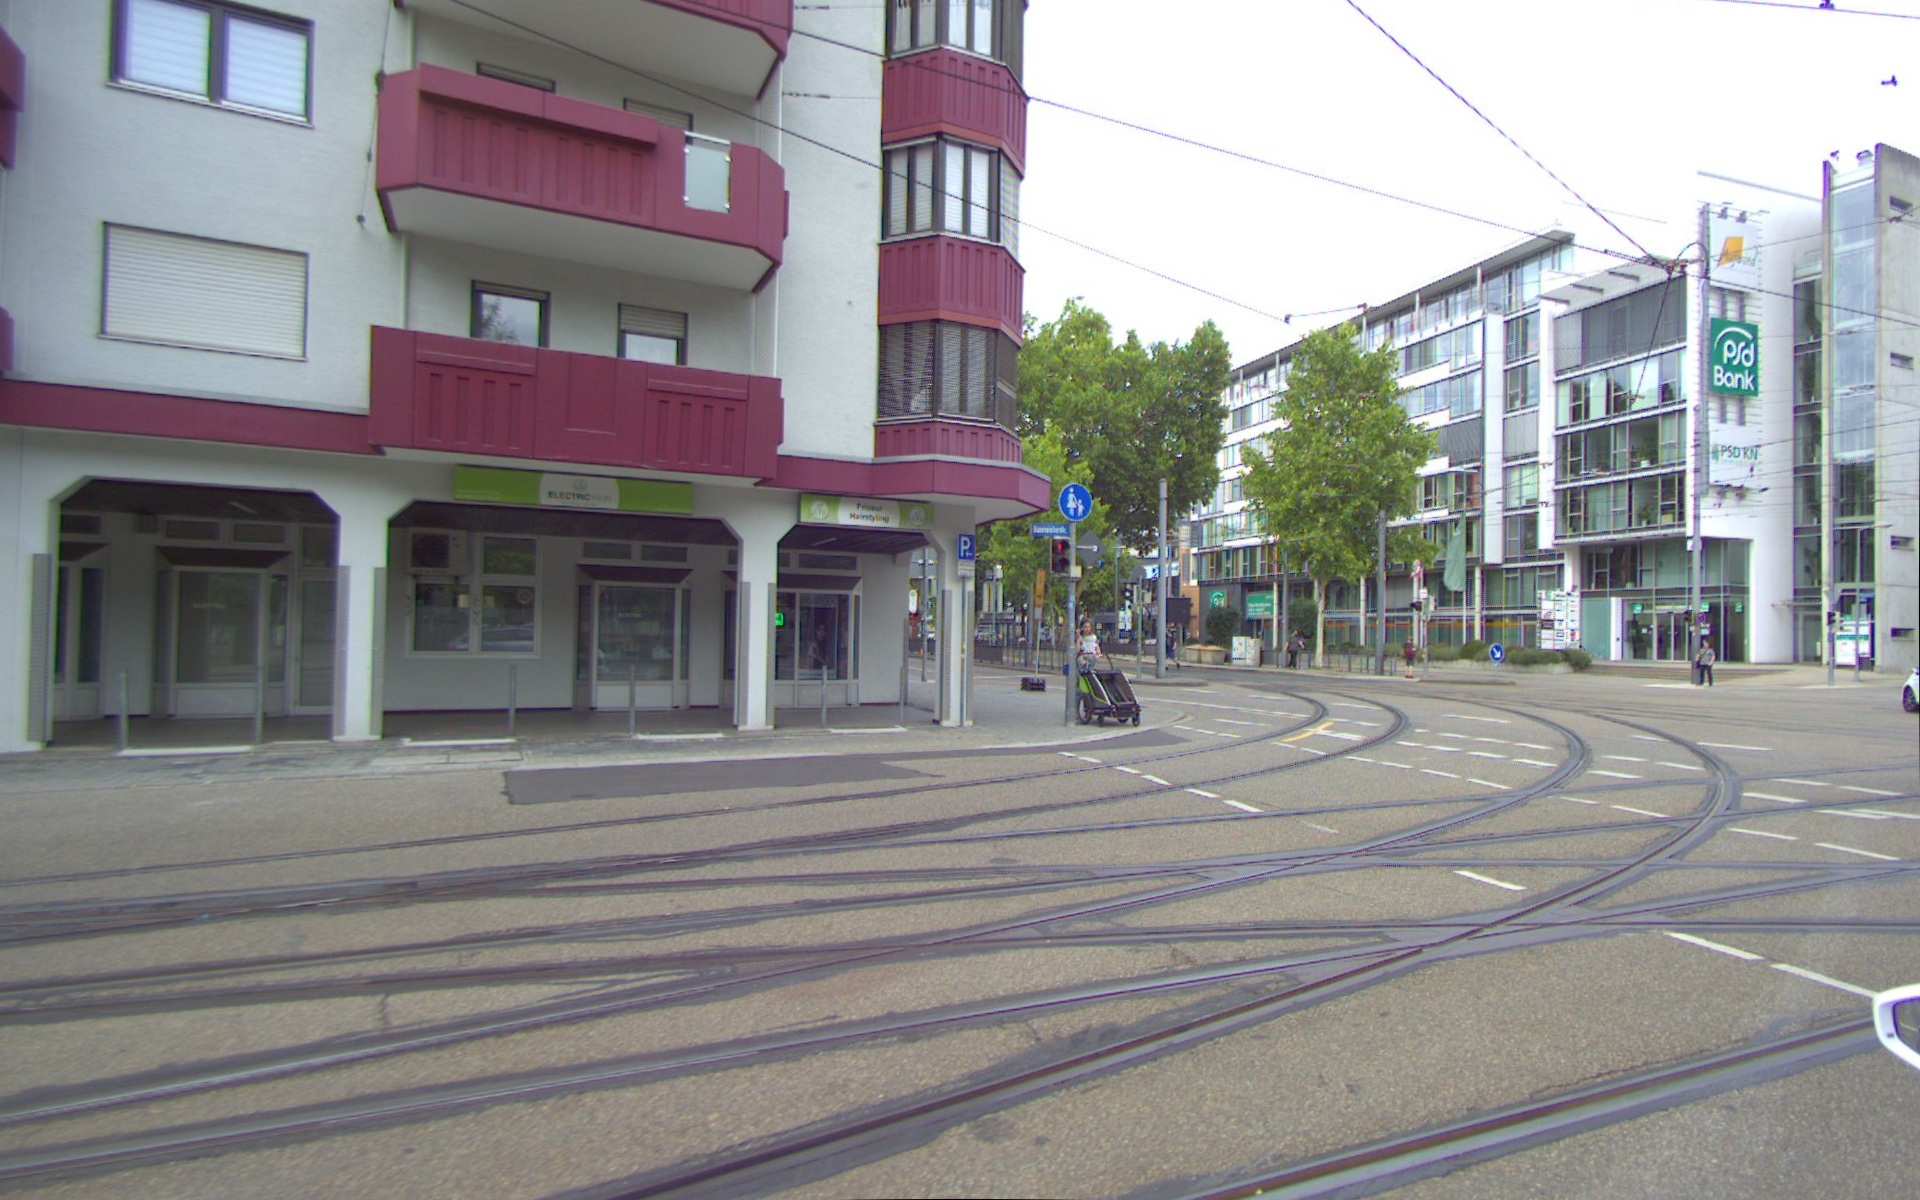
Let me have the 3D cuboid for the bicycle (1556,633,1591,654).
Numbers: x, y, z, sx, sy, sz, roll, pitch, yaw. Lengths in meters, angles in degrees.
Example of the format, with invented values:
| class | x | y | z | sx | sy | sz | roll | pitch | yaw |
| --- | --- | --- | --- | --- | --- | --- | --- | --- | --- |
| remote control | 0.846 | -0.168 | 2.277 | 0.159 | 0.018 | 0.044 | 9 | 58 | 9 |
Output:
| class | x | y | z | sx | sy | sz | roll | pitch | yaw |
| --- | --- | --- | --- | --- | --- | --- | --- | --- | --- |
| bicycle | 36.462 | 2.599 | 59.697 | 2.083 | 1.192 | 0.583 | 2 | -1 | -22 |

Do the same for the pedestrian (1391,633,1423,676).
| class | x | y | z | sx | sy | sz | roll | pitch | yaw |
| --- | --- | --- | --- | --- | --- | --- | --- | --- | --- |
| pedestrian | 17.554 | 2.132 | 39.446 | 0.752 | 1.693 | 0.936 | 1 | -2 | -11 |

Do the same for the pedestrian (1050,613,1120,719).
| class | x | y | z | sx | sy | sz | roll | pitch | yaw |
| --- | --- | --- | --- | --- | --- | --- | --- | --- | --- |
| pedestrian | 2.143 | 1.114 | 17.277 | 0.802 | 1.766 | 0.944 | 1 | -2 | -26 |

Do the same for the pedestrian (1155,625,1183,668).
| class | x | y | z | sx | sy | sz | roll | pitch | yaw |
| --- | --- | --- | --- | --- | --- | --- | --- | --- | --- |
| pedestrian | 9.442 | 2.094 | 45.335 | 0.985 | 1.924 | 0.803 | 1 | -1 | -12 |

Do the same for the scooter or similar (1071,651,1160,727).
| class | x | y | z | sx | sy | sz | roll | pitch | yaw |
| --- | --- | --- | --- | --- | --- | --- | --- | --- | --- |
| scooter or similar | 2.537 | 1.428 | 16.480 | 0.934 | 1.143 | 1.192 | 1 | -1 | -25 |

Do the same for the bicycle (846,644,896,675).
| class | x | y | z | sx | sy | sz | roll | pitch | yaw |
| --- | --- | --- | --- | --- | --- | --- | --- | --- | --- |
| bicycle | -3.200 | 2.136 | 36.212 | 1.708 | 1.031 | 0.476 | 5 | -3 | -25 |

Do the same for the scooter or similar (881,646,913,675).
| class | x | y | z | sx | sy | sz | roll | pitch | yaw |
| --- | --- | --- | --- | --- | --- | --- | --- | --- | --- |
| scooter or similar | -2.260 | 2.185 | 36.075 | 1.166 | 1.001 | 0.347 | 6 | -5 | -41 |

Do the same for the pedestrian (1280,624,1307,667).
| class | x | y | z | sx | sy | sz | roll | pitch | yaw |
| --- | --- | --- | --- | --- | --- | --- | --- | --- | --- |
| pedestrian | 14.876 | 2.026 | 44.835 | 0.829 | 1.880 | 0.840 | 1 | -2 | -25 |

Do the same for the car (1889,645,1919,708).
| class | x | y | z | sx | sy | sz | roll | pitch | yaw |
| --- | --- | --- | --- | --- | --- | --- | --- | --- | --- |
| car | 23.017 | 1.763 | 22.695 | 1.807 | 1.458 | 4.184 | 0 | -2 | 26 |

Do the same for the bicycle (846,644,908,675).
| class | x | y | z | sx | sy | sz | roll | pitch | yaw |
| --- | --- | --- | --- | --- | --- | --- | --- | --- | --- |
| bicycle | -3.040 | 2.195 | 36.939 | 2.147 | 1.031 | 0.625 | 4 | -3 | -17 |

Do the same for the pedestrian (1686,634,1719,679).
| class | x | y | z | sx | sy | sz | roll | pitch | yaw |
| --- | --- | --- | --- | --- | --- | --- | --- | --- | --- |
| pedestrian | 31.274 | 2.380 | 42.330 | 0.752 | 1.889 | 0.835 | 1 | -2 | -11 |
